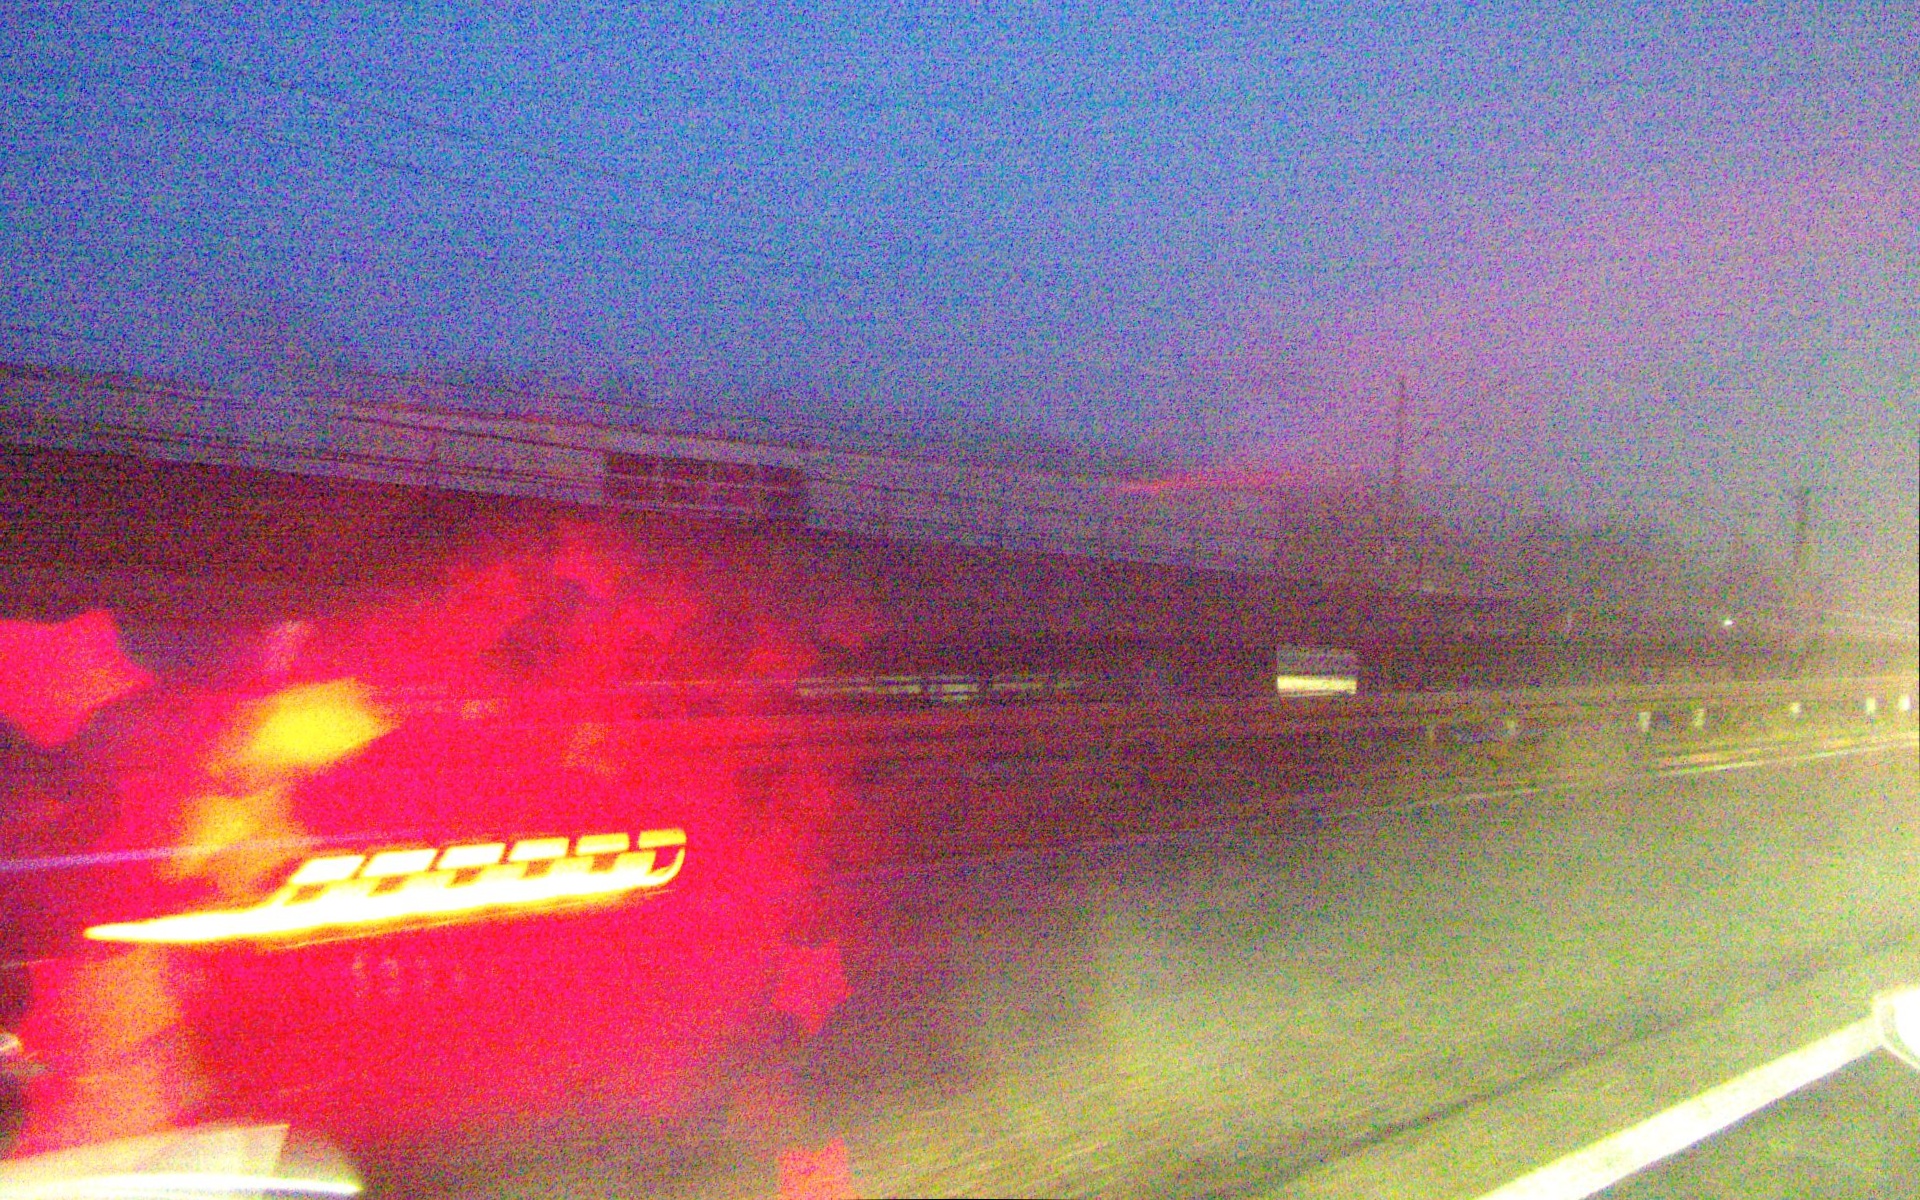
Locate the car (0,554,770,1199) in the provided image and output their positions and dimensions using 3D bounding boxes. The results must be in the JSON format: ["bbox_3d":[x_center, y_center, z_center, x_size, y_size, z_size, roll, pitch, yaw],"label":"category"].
[{"bbox_3d":[-2.701,0.631,1.834,4.226,1.490,1.894,2,1,-31],"label":"car"}]
